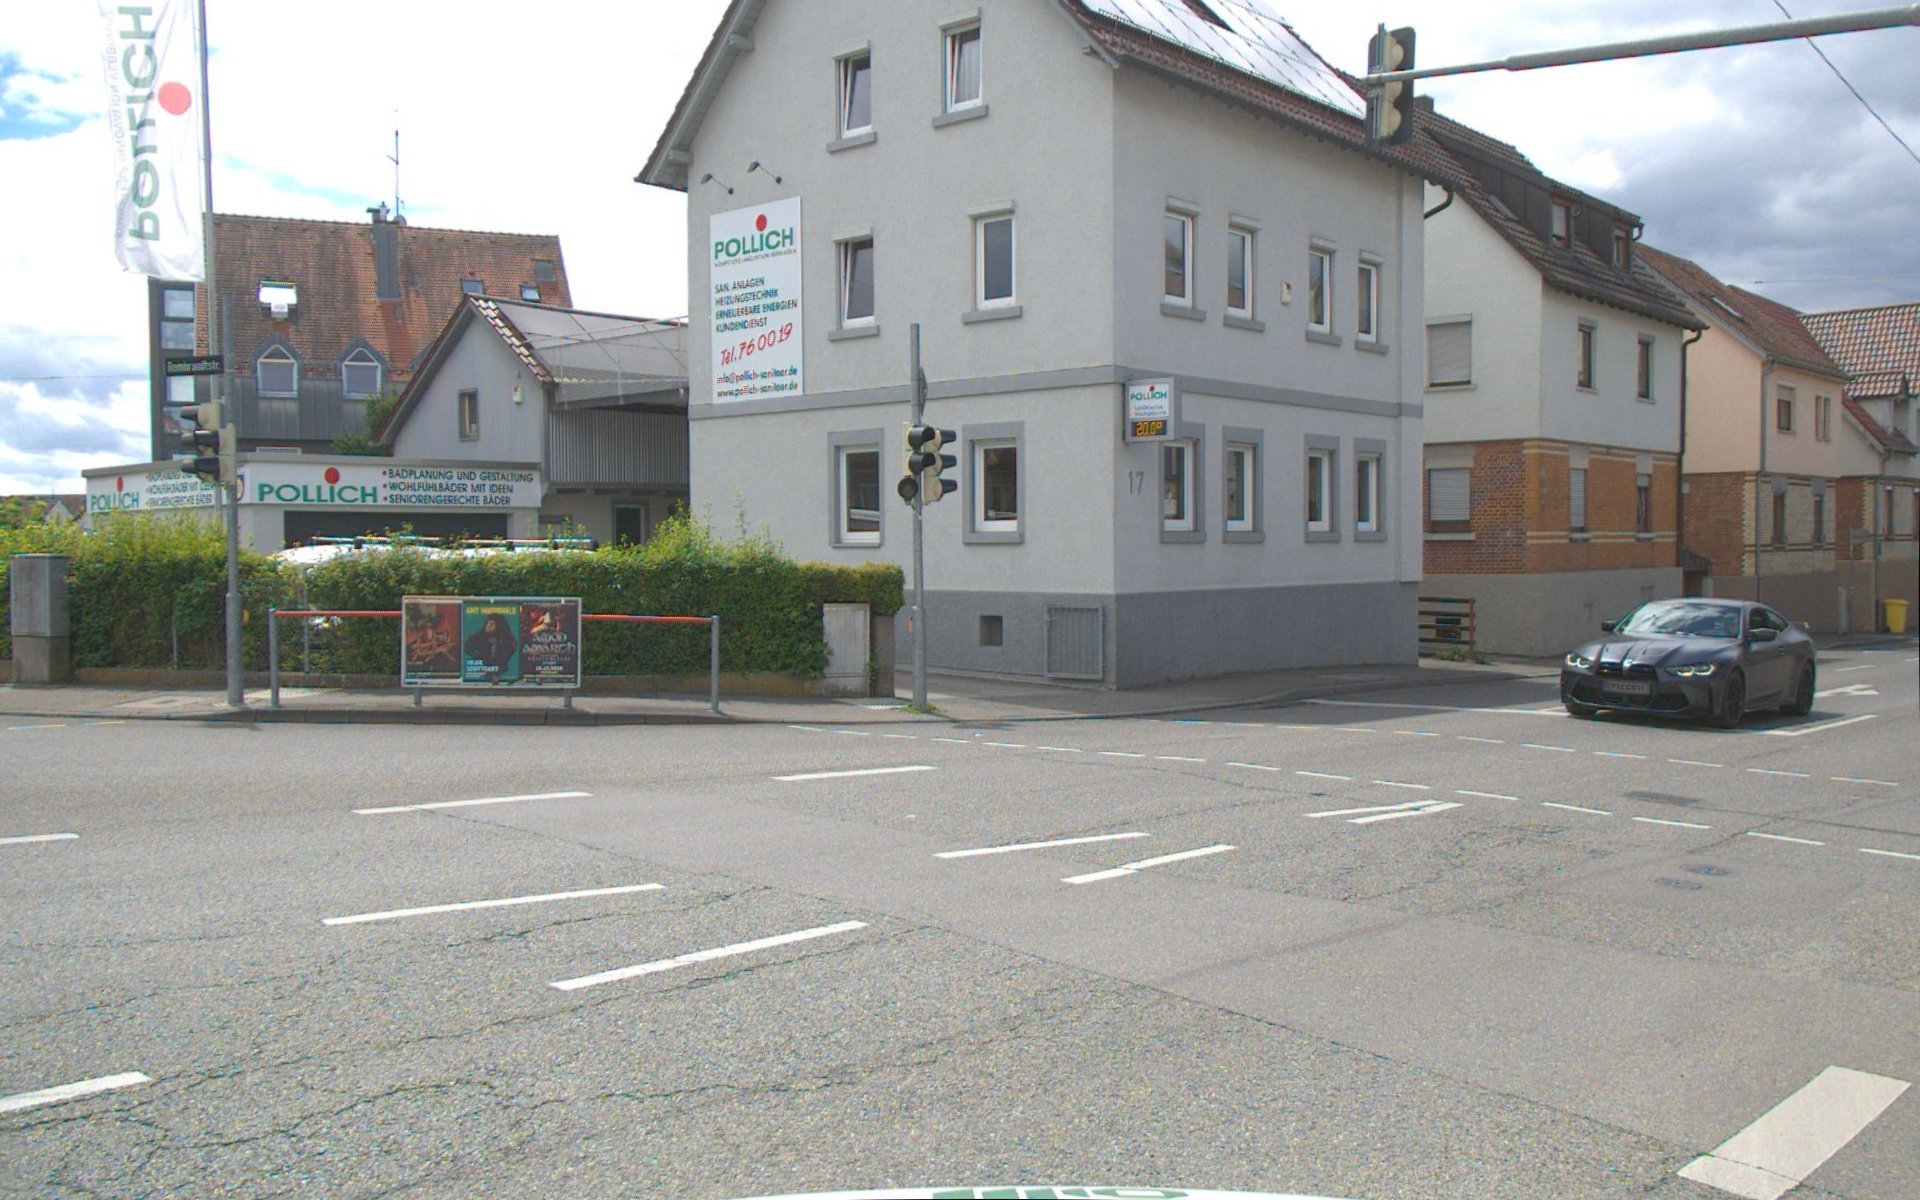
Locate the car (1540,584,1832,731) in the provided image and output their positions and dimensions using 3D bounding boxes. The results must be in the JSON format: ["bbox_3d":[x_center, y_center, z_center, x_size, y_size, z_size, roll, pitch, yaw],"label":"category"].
[{"bbox_3d":[8.861,0.588,19.966,1.964,1.482,4.592,3,3,40],"label":"car"}]

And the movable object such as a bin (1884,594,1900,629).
[{"bbox_3d":[31.062,0.382,55.105,0.424,1.147,0.297,0,0,40],"label":"movable object such as a bin"}]

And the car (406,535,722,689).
[{"bbox_3d":[-5.532,0.141,23.450,1.964,1.982,3.976,0,0,42],"label":"car"}]

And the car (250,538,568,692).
[{"bbox_3d":[-7.961,0.177,24.119,1.965,2.049,3.975,0,1,42],"label":"car"}]
